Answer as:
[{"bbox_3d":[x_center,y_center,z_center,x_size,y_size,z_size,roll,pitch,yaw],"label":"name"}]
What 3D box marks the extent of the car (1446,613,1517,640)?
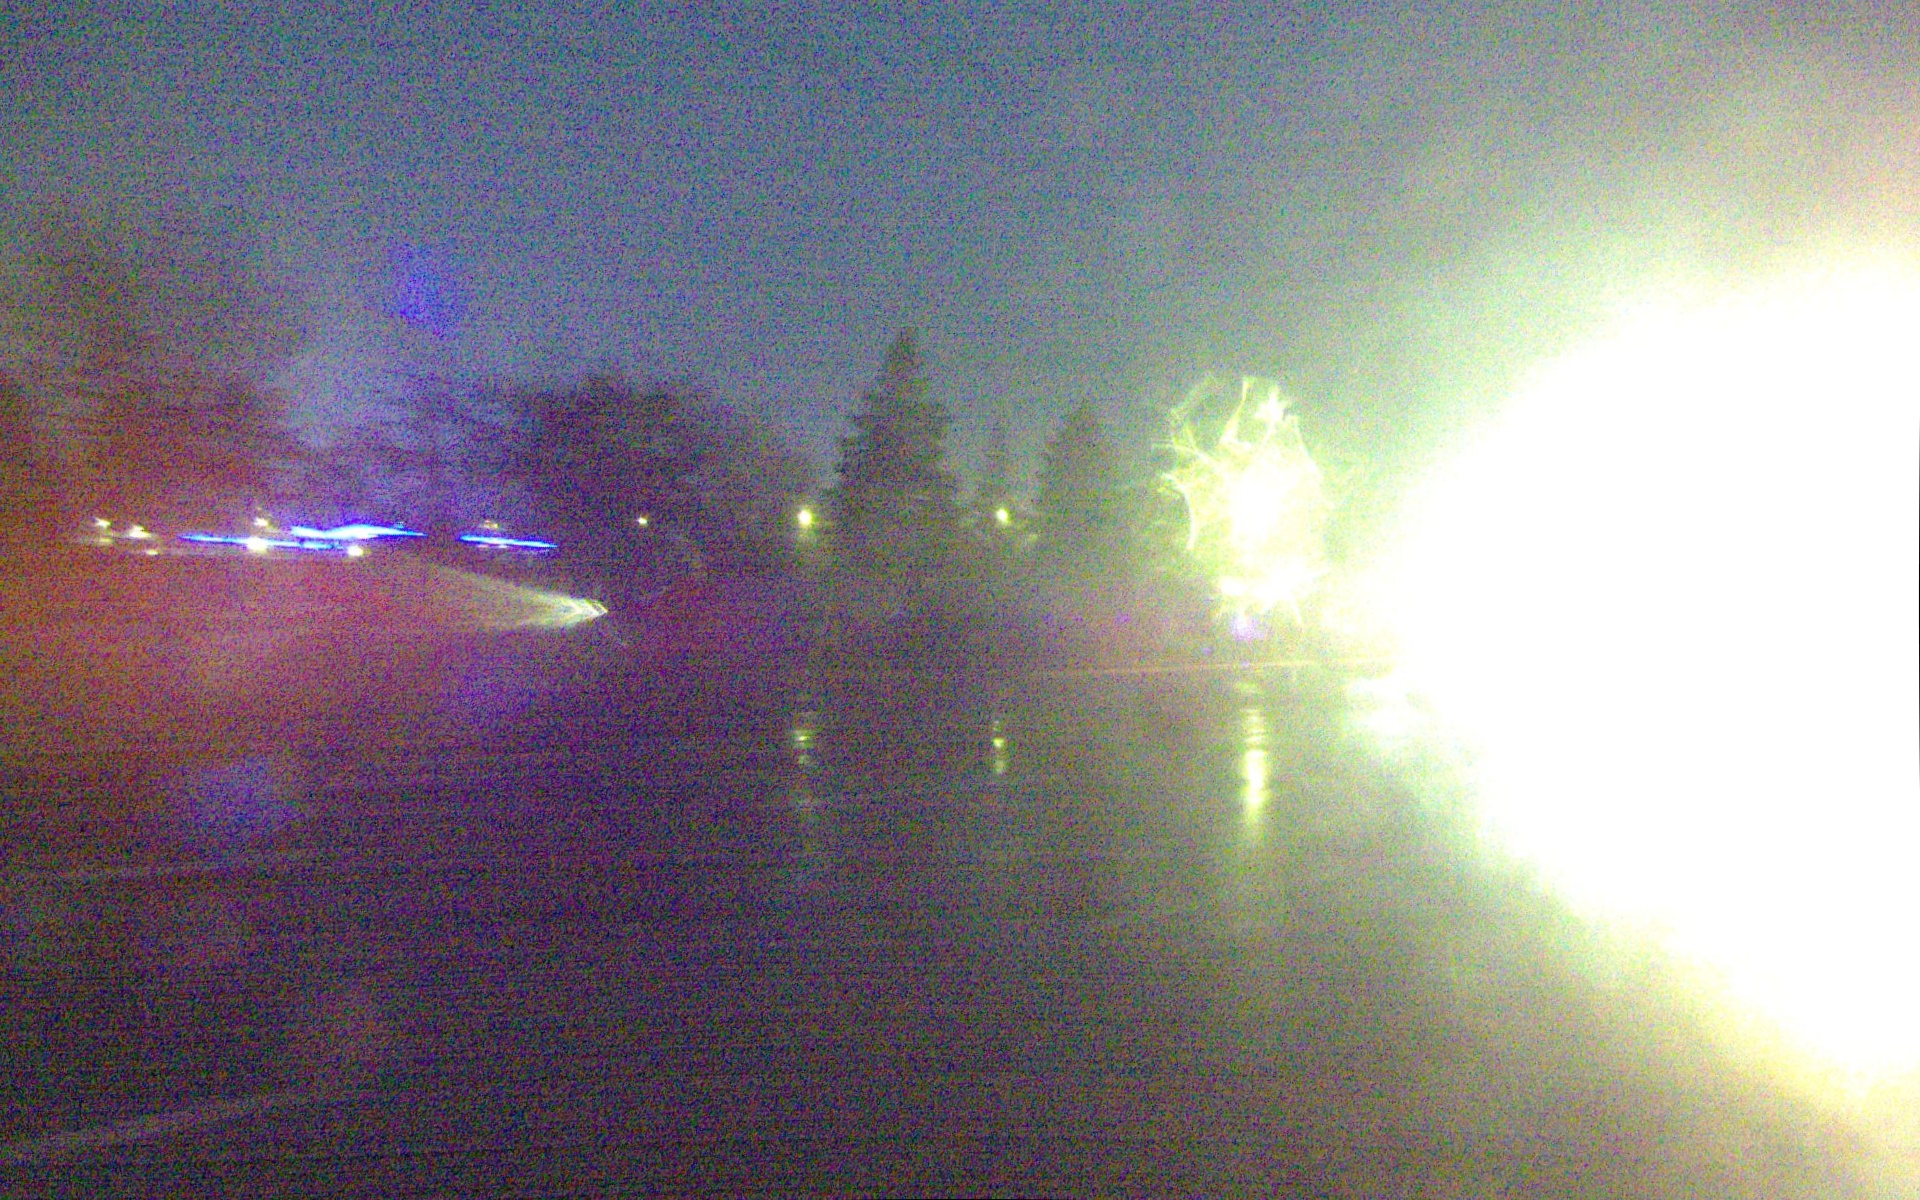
[{"bbox_3d":[35.345,1.776,68.152,4.211,1.649,1.997,1,0,29],"label":"car"}]
